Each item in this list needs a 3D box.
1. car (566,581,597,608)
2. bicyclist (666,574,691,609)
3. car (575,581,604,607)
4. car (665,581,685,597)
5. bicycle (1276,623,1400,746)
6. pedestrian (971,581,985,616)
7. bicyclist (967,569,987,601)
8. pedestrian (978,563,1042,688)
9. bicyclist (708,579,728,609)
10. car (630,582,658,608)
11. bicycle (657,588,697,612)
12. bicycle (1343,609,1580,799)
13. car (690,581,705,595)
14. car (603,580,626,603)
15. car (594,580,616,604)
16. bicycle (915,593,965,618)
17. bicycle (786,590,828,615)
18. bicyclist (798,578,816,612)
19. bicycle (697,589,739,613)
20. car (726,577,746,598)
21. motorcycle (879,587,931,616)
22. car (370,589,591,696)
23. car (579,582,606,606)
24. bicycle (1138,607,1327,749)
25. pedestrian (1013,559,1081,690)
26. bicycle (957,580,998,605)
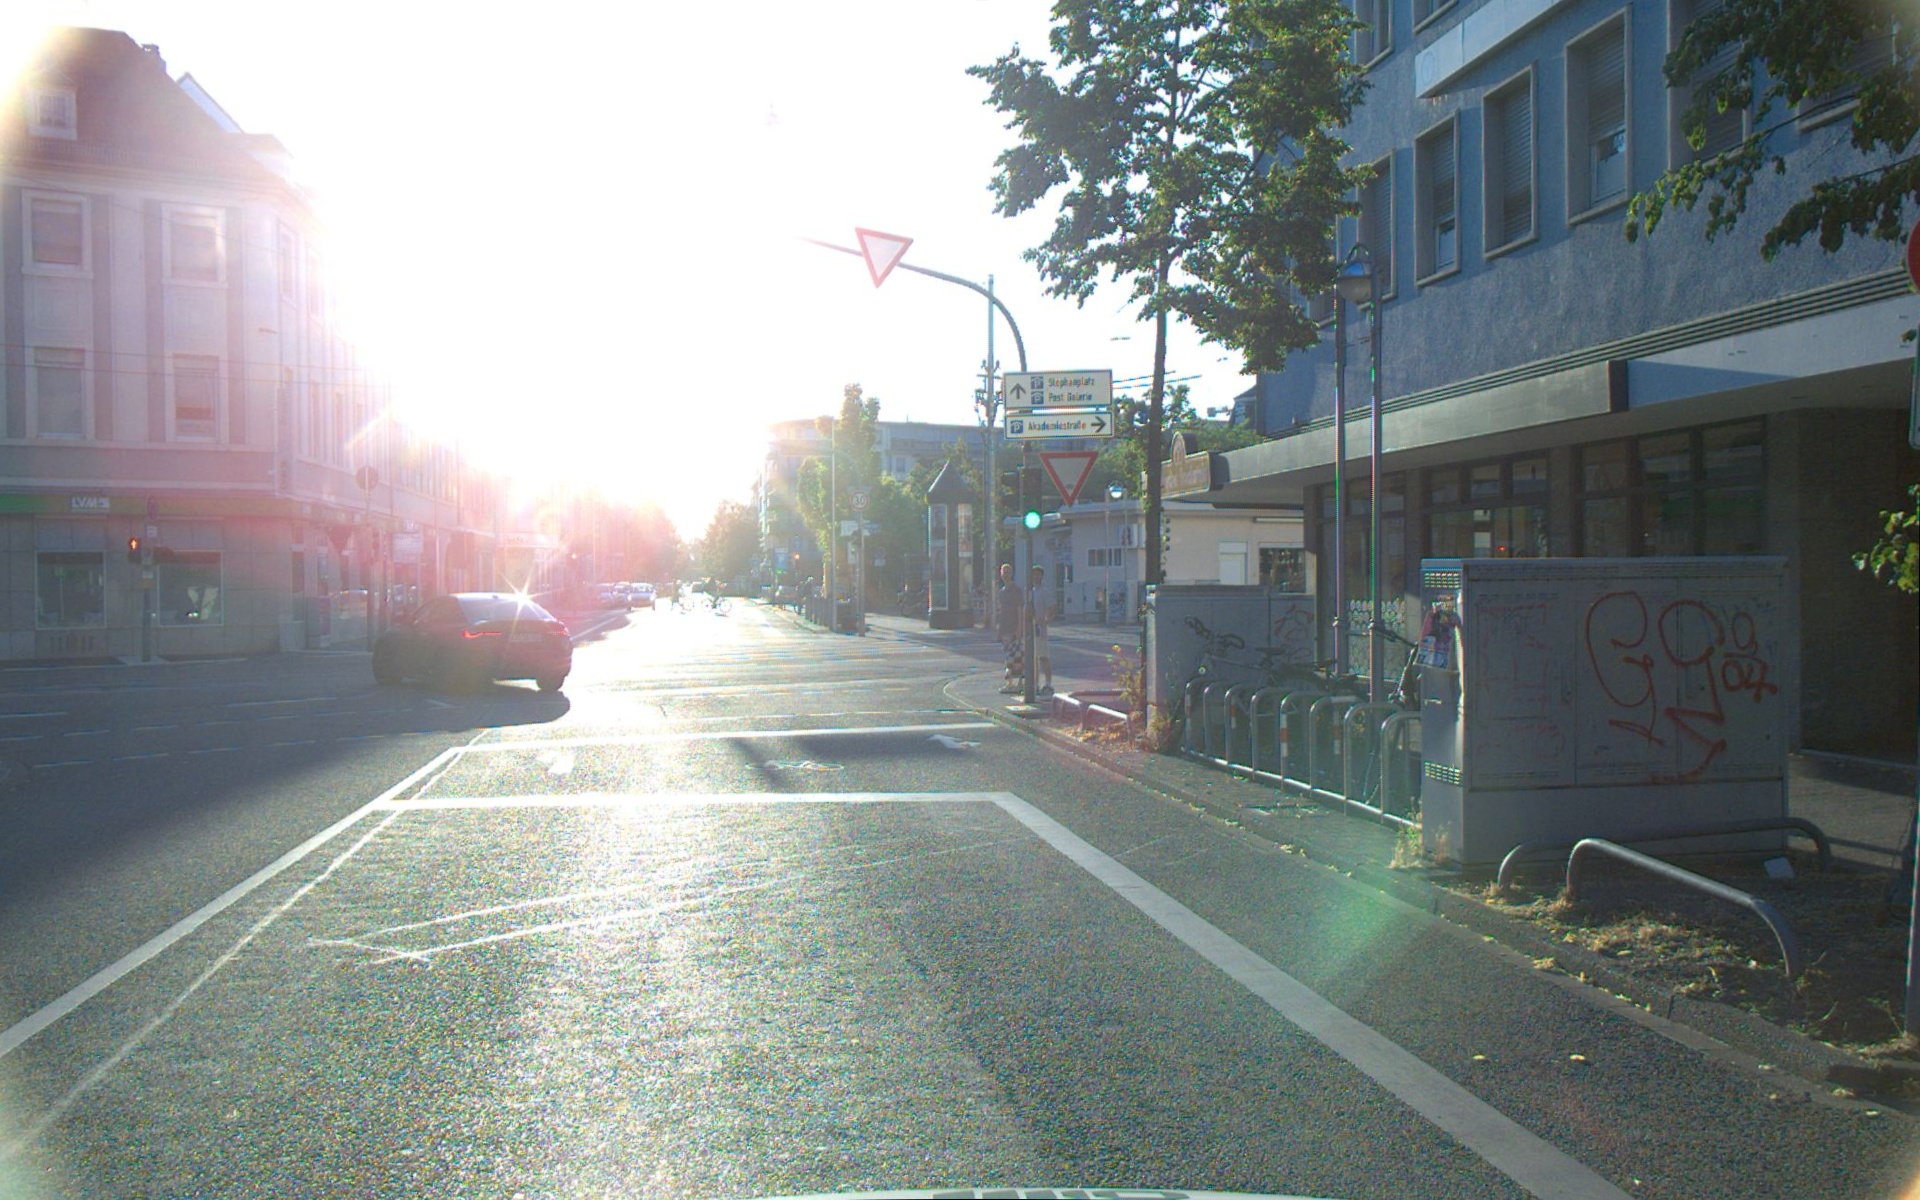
[{"bbox_3d":[-22.011,-0.308,96.285,1.517,1.509,3.344,-1,1,-10],"label":"car"},{"bbox_3d":[-15.174,-0.462,89.079,1.105,1.822,0.765,1,-1,14],"label":"bicyclist"},{"bbox_3d":[-22.390,-0.349,99.908,1.517,1.495,3.344,0,0,-10],"label":"car"},{"bbox_3d":[-31.493,-1.173,182.585,1.956,1.713,3.994,-1,1,-7],"label":"car"},{"bbox_3d":[3.528,0.767,15.564,0.396,1.028,1.664,-2,1,-14],"label":"bicycle"},{"bbox_3d":[0.876,-0.073,81.327,0.667,1.686,0.695,1,-1,-1],"label":"pedestrian"},{"bbox_3d":[0.871,-0.773,84.499,0.939,1.629,0.647,1,-1,6],"label":"bicyclist"},{"bbox_3d":[0.735,0.362,24.290,0.581,1.804,0.739,-1,1,-40],"label":"pedestrian"},{"bbox_3d":[-12.551,-0.296,85.713,0.880,1.507,0.735,1,-1,2],"label":"bicyclist"},{"bbox_3d":[-18.379,-0.285,96.281,1.517,1.493,3.344,0,0,-10],"label":"car"},{"bbox_3d":[-15.264,-0.005,89.065,2.072,1.225,0.501,1,-1,13],"label":"bicycle"},{"bbox_3d":[3.463,0.687,11.402,1.633,1.215,0.491,-1,1,-22],"label":"bicycle"},{"bbox_3d":[-36.804,-1.690,231.947,1.956,1.847,3.994,1,0,-7],"label":"car"},{"bbox_3d":[-24.453,-0.583,117.242,1.456,1.586,3.251,0,0,-10],"label":"car"},{"bbox_3d":[-23.920,-0.527,111.474,1.283,1.610,2.882,0,0,-10],"label":"car"},{"bbox_3d":[-0.824,0.228,67.549,2.035,0.999,0.560,-1,0,-1],"label":"bicycle"},{"bbox_3d":[-7.753,0.140,83.666,2.074,1.225,0.500,1,-1,-1],"label":"bicycle"},{"bbox_3d":[-7.761,-0.240,83.669,0.833,1.687,0.676,1,-1,-1],"label":"bicyclist"},{"bbox_3d":[-12.537,0.053,85.692,2.074,1.225,0.500,1,-1,1],"label":"bicycle"},{"bbox_3d":[-23.535,-1.308,173.928,1.956,2.049,3.993,1,0,-8],"label":"car"},{"bbox_3d":[-2.366,0.050,70.504,2.190,1.222,0.720,-1,1,-4],"label":"motorcycle"},{"bbox_3d":[-7.511,0.599,25.627,1.876,1.506,4.485,1,0,-36],"label":"car"},{"bbox_3d":[-23.284,-0.386,104.796,1.517,1.494,3.344,0,0,-10],"label":"car"},{"bbox_3d":[2.449,0.682,14.862,1.629,1.215,0.475,0,1,-15],"label":"bicycle"},{"bbox_3d":[1.225,0.332,23.335,0.630,1.804,0.742,-1,0,-30],"label":"pedestrian"},{"bbox_3d":[0.900,-0.389,84.501,2.072,1.225,0.500,1,-1,6],"label":"bicycle"}]
